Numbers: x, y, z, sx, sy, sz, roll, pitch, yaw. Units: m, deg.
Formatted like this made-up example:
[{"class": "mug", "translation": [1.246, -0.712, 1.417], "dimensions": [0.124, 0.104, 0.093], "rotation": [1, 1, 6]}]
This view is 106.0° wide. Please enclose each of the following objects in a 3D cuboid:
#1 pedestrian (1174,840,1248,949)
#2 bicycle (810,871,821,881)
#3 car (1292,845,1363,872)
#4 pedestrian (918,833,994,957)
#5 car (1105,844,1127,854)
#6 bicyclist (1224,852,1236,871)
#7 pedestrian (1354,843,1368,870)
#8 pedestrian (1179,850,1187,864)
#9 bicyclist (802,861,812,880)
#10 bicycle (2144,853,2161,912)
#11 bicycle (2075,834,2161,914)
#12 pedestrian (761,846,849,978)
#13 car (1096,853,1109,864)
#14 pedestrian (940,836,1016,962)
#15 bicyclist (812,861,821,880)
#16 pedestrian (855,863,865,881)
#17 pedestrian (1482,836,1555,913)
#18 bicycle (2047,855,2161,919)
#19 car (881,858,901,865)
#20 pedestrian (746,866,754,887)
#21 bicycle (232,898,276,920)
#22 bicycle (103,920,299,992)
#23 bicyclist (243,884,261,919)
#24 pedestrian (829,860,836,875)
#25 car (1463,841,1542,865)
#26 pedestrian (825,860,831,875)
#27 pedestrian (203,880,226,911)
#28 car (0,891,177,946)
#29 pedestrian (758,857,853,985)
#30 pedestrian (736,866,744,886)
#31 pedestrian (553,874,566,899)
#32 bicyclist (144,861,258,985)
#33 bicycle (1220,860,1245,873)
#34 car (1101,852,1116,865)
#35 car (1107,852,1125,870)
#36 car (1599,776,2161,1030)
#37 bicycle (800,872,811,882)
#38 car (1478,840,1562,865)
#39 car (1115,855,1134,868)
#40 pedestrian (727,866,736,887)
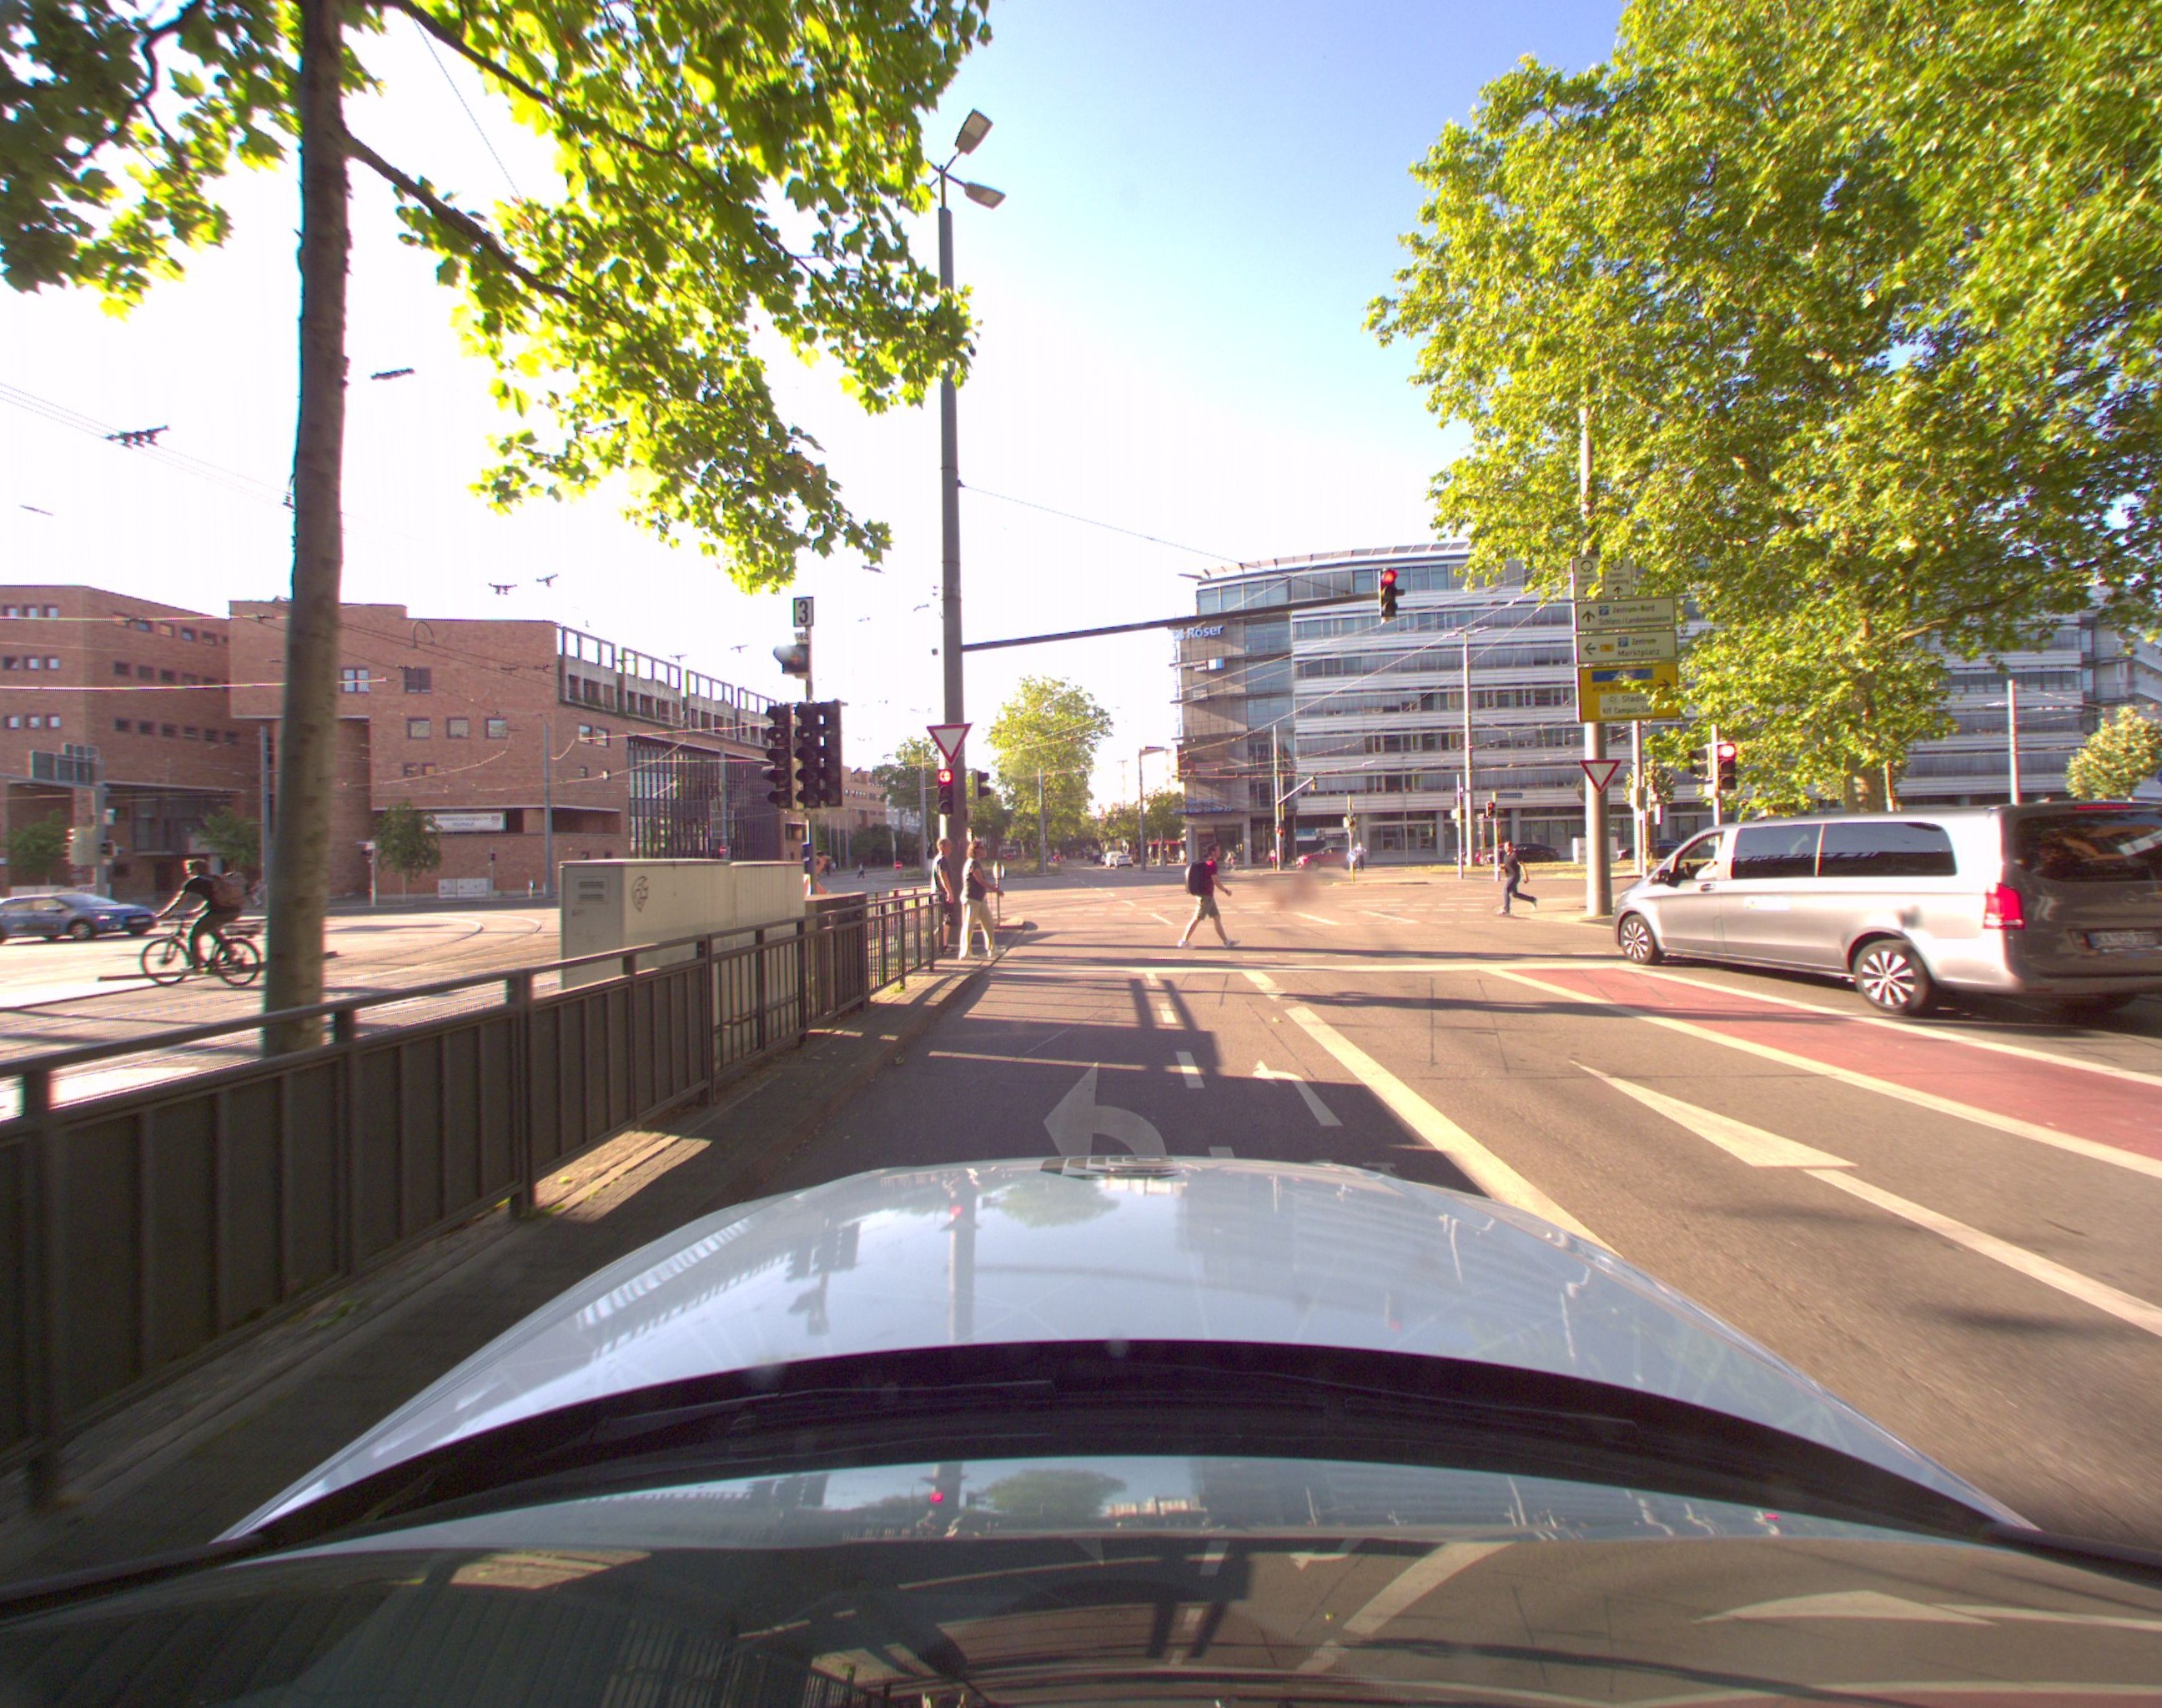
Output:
[{"class": "pedestrian", "translation": [2.105, 0.650, 13.269], "dimensions": [1.070, 1.715, 0.628], "rotation": [-1, -1, -2]}, {"class": "bicycle", "translation": [-23.943, 2.002, 73.427], "dimensions": [0.512, 0.881, 1.835], "rotation": [-2, 0, -6]}, {"class": "car", "translation": [16.524, 0.304, 54.649], "dimensions": [4.223, 1.602, 1.797], "rotation": [-2, 0, 2]}, {"class": "pedestrian", "translation": [-1.976, 0.632, 13.002], "dimensions": [1.143, 1.894, 0.831], "rotation": [-1, -1, -6]}, {"class": "car", "translation": [6.448, -0.928, 148.551], "dimensions": [3.733, 1.750, 1.789], "rotation": [0, -1, 16]}, {"class": "bicyclist", "translation": [11.087, 0.535, 60.512], "dimensions": [0.814, 1.366, 0.401], "rotation": [-2, 0, 7]}, {"class": "pedestrian", "translation": [17.052, 0.153, 49.666], "dimensions": [0.716, 1.682, 0.558], "rotation": [-1, -1, 8]}, {"class": "pedestrian", "translation": [11.438, 0.357, 91.048], "dimensions": [0.737, 1.465, 0.536], "rotation": [-2, 0, -1]}, {"class": "bicyclist", "translation": [-24.619, 1.488, 73.245], "dimensions": [0.592, 1.675, 0.788], "rotation": [-2, 0, -5]}, {"class": "bicycle", "translation": [18.463, 0.476, 13.227], "dimensions": [0.448, 0.983, 1.476], "rotation": [-2, 0, 0]}, {"class": "bicycle", "translation": [17.806, 0.325, 13.441], "dimensions": [0.448, 1.286, 1.887], "rotation": [-2, 0, 0]}, {"class": "pedestrian", "translation": [-4.048, 0.824, 12.015], "dimensions": [1.072, 1.871, 0.737], "rotation": [-1, -1, -6]}, {"class": "car", "translation": [3.490, 0.707, 134.020], "dimensions": [1.986, 1.662, 4.001], "rotation": [-2, 0, 1]}, {"class": "pedestrian", "translation": [-1.522, 0.649, 12.176], "dimensions": [1.070, 1.806, 0.756], "rotation": [-1, -1, -6]}, {"class": "bicyclist", "translation": [-23.853, 1.488, 73.488], "dimensions": [0.592, 1.675, 0.788], "rotation": [-2, 0, -5]}, {"class": "pedestrian", "translation": [-18.840, 1.502, 69.553], "dimensions": [0.754, 1.530, 0.507], "rotation": [0, -1, -6]}, {"class": "pedestrian", "translation": [10.614, 0.482, 19.795], "dimensions": [1.206, 1.822, 1.040], "rotation": [0, -1, -4]}, {"class": "bicycle", "translation": [17.017, 0.515, 13.411], "dimensions": [0.448, 0.983, 1.476], "rotation": [-2, 0, 0]}, {"class": "car", "translation": [-41.751, 1.650, 178.599], "dimensions": [4.012, 1.552, 1.592], "rotation": [0, -1, -30]}, {"class": "pedestrian", "translation": [-26.536, 1.791, 65.288], "dimensions": [0.538, 1.650, 0.622], "rotation": [-2, 0, -18]}, {"class": "bicycle", "translation": [-50.380, 3.359, 49.630], "dimensions": [2.085, 1.239, 0.453], "rotation": [-2, 0, -4]}, {"class": "bicycle", "translation": [-13.256, 1.522, 12.312], "dimensions": [2.171, 0.933, 0.668], "rotation": [-2, 0, -1]}, {"class": "bicyclist", "translation": [-50.510, 2.888, 49.627], "dimensions": [0.559, 2.060, 0.451], "rotation": [-2, -1, -3]}, {"class": "pedestrian", "translation": [-30.207, 1.610, 98.972], "dimensions": [0.637, 1.810, 0.547], "rotation": [-2, -1, 8]}, {"class": "car", "translation": [27.687, -0.039, 53.576], "dimensions": [4.217, 1.392, 1.799], "rotation": [-2, 0, 8]}, {"class": "pedestrian", "translation": [-30.329, 1.592, 97.659], "dimensions": [0.519, 1.779, 0.547], "rotation": [-2, -1, 8]}, {"class": "pedestrian", "translation": [-45.891, 2.206, 43.113], "dimensions": [0.542, 1.613, 0.613], "rotation": [0, 1, -4]}, {"class": "car", "translation": [-31.792, 2.021, 25.796], "dimensions": [3.944, 1.456, 1.998], "rotation": [-2, 0, -3]}, {"class": "pedestrian", "translation": [-3.756, 0.889, 11.179], "dimensions": [1.071, 1.682, 0.756], "rotation": [-1, -1, -6]}, {"class": "pedestrian", "translation": [-27.739, 1.772, 66.233], "dimensions": [0.538, 1.650, 0.622], "rotation": [-2, 0, -18]}, {"class": "pedestrian", "translation": [-35.690, 2.220, 55.723], "dimensions": [0.538, 1.613, 0.575], "rotation": [-2, 0, 32]}, {"class": "bicyclist", "translation": [-13.282, 1.017, 12.316], "dimensions": [0.847, 1.785, 0.752], "rotation": [-2, 0, -1]}, {"class": "bicycle", "translation": [11.244, 0.953, 60.496], "dimensions": [1.732, 0.899, 0.410], "rotation": [-2, 0, 6]}, {"class": "car", "translation": [3.736, 0.653, 112.203], "dimensions": [1.986, 1.662, 4.001], "rotation": [-2, 0, 1]}, {"class": "car", "translation": [4.196, 0.858, 96.872], "dimensions": [1.986, 1.991, 4.001], "rotation": [-2, 0, 1]}, {"class": "car", "translation": [8.207, 0.379, 8.863], "dimensions": [1.986, 1.966, 5.139], "rotation": [0, 0, 2]}, {"class": "bicycle", "translation": [-24.763, 2.050, 73.134], "dimensions": [0.512, 0.881, 1.835], "rotation": [-2, 0, -6]}, {"class": "car", "translation": [27.352, -0.111, 50.844], "dimensions": [4.219, 1.392, 1.798], "rotation": [-2, 0, 6]}, {"class": "car", "translation": [4.795, 0.780, 90.013], "dimensions": [1.986, 1.332, 4.001], "rotation": [-2, 0, 1]}, {"class": "pedestrian", "translation": [-27.515, 1.787, 64.144], "dimensions": [0.538, 1.650, 0.622], "rotation": [-2, 0, -18]}]
